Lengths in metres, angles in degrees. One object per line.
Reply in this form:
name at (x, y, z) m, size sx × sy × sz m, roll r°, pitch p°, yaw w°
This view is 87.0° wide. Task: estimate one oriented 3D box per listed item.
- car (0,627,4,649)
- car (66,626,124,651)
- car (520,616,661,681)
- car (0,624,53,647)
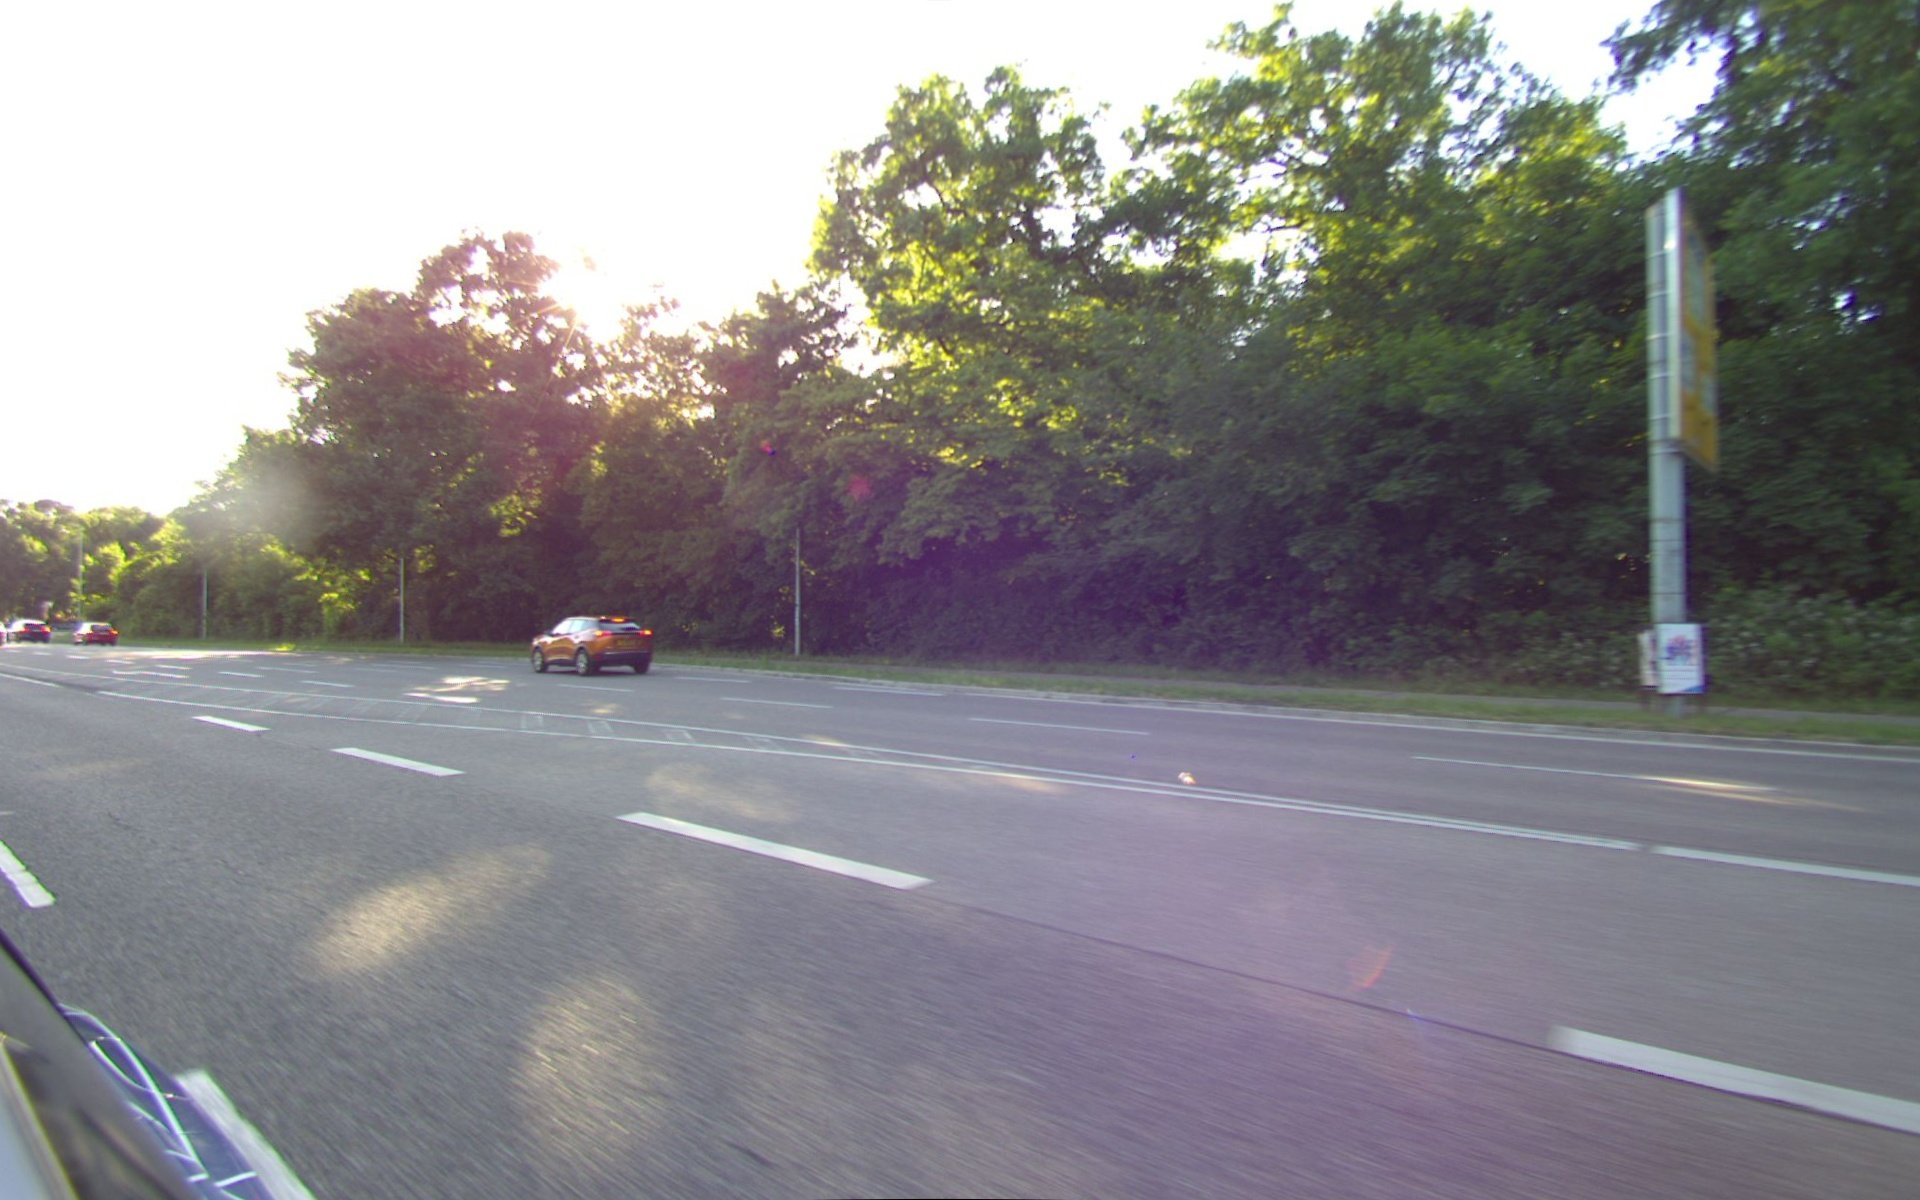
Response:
car at (-55.039, 2.097, 56.461) m, size 4.666 × 1.244 × 1.727 m, roll -1°, pitch -2°, yaw 37°
car at (-56.557, 2.479, 66.145) m, size 4.331 × 1.576 × 1.975 m, roll -1°, pitch -3°, yaw 37°
car at (-9.748, 1.223, 26.526) m, size 4.258 × 1.556 × 1.804 m, roll -1°, pitch -2°, yaw 44°
car at (-70.618, 2.665, 76.572) m, size 4.833 × 1.649 × 1.976 m, roll -1°, pitch -2°, yaw 35°
